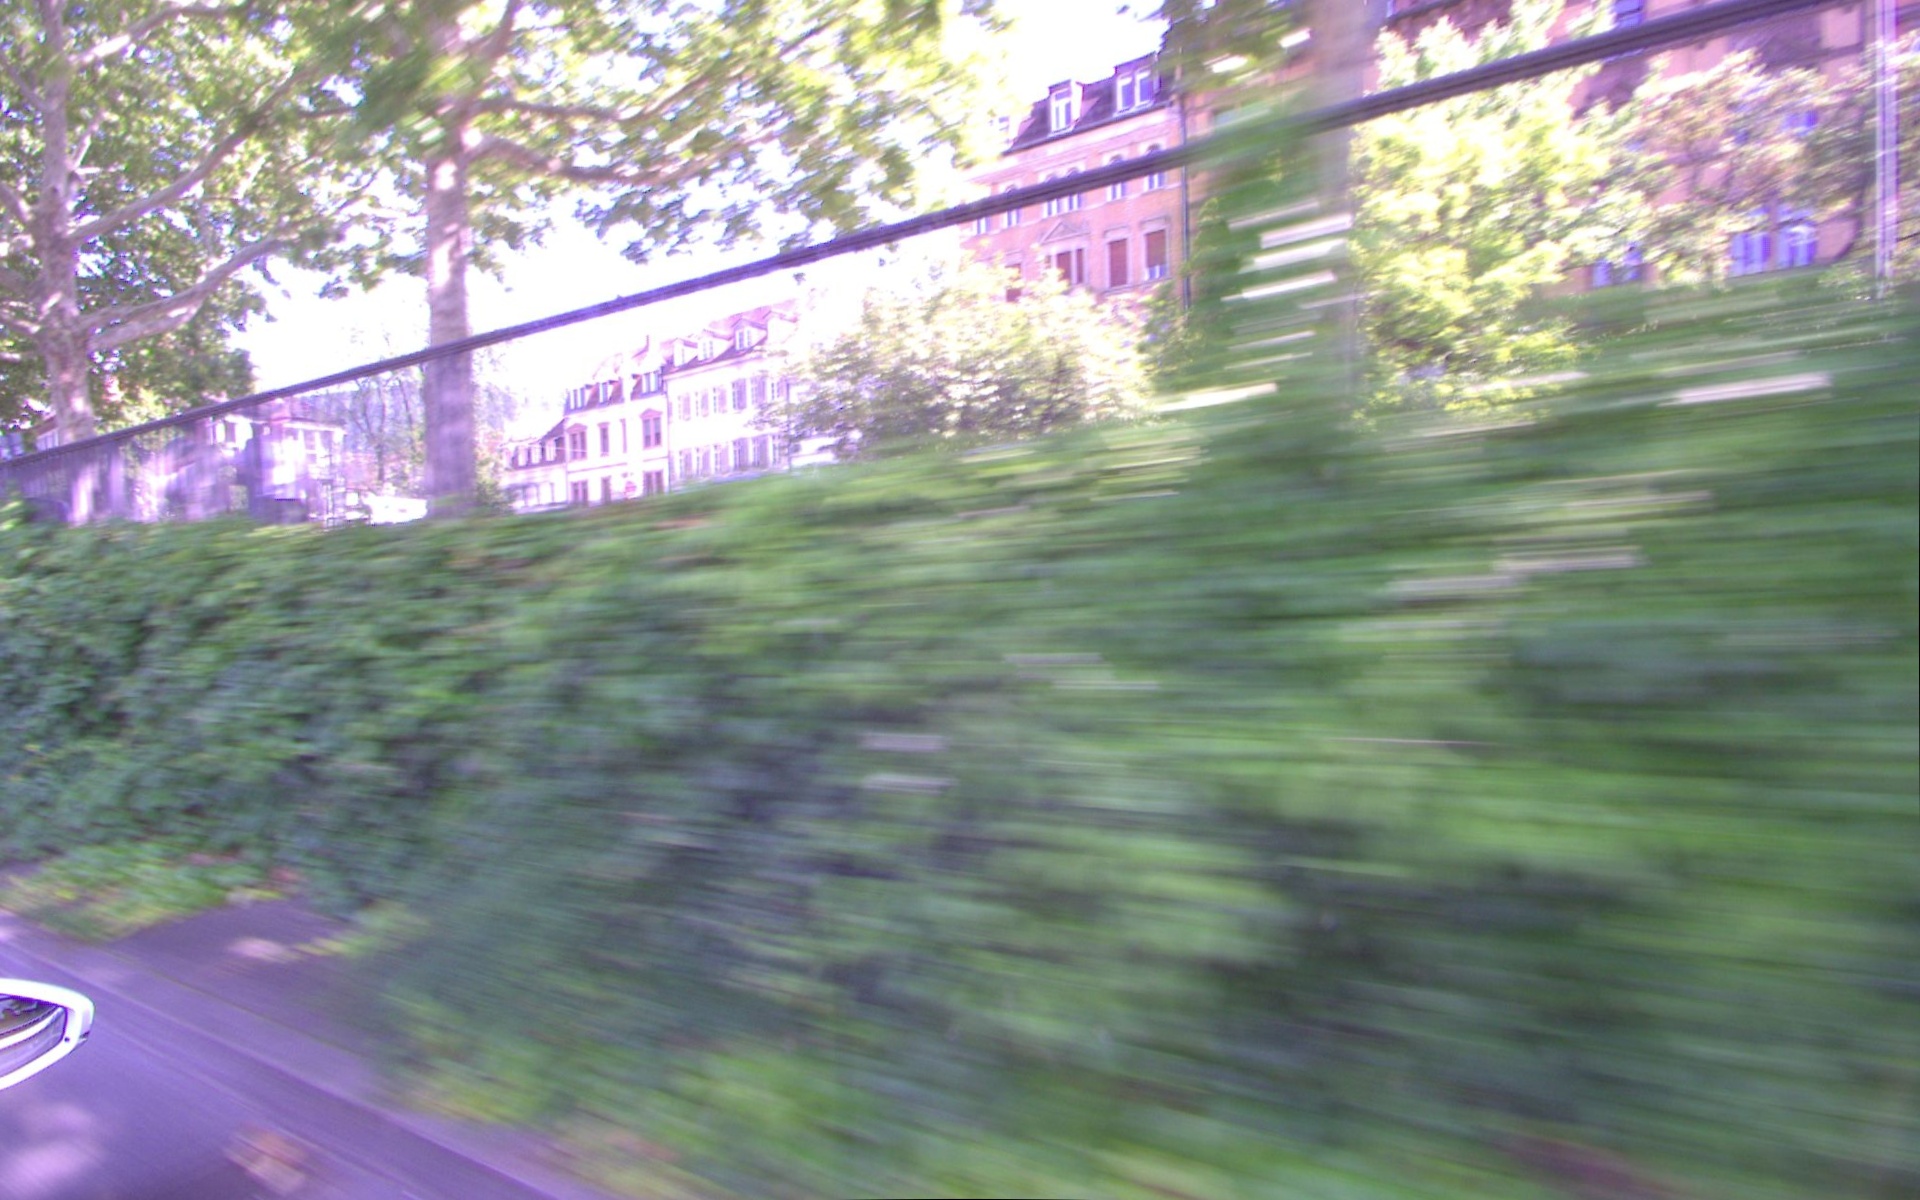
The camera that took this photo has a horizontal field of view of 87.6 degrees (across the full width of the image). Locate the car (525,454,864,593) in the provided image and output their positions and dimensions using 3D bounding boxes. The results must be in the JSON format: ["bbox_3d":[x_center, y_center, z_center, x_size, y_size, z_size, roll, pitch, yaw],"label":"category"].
[{"bbox_3d":[-2.735,-0.812,11.037,1.492,1.252,3.513,0,4,32],"label":"car"}]

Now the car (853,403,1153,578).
[{"bbox_3d":[0.624,-0.935,9.513,1.646,1.252,3.723,-1,3,23],"label":"car"}]

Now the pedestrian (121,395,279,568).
[{"bbox_3d":[-6.624,-1.000,8.745,0.802,1.385,0.751,0,4,29],"label":"pedestrian"}]

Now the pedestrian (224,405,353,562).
[{"bbox_3d":[-6.346,-1.071,9.471,0.782,1.385,0.642,0,4,29],"label":"pedestrian"}]
